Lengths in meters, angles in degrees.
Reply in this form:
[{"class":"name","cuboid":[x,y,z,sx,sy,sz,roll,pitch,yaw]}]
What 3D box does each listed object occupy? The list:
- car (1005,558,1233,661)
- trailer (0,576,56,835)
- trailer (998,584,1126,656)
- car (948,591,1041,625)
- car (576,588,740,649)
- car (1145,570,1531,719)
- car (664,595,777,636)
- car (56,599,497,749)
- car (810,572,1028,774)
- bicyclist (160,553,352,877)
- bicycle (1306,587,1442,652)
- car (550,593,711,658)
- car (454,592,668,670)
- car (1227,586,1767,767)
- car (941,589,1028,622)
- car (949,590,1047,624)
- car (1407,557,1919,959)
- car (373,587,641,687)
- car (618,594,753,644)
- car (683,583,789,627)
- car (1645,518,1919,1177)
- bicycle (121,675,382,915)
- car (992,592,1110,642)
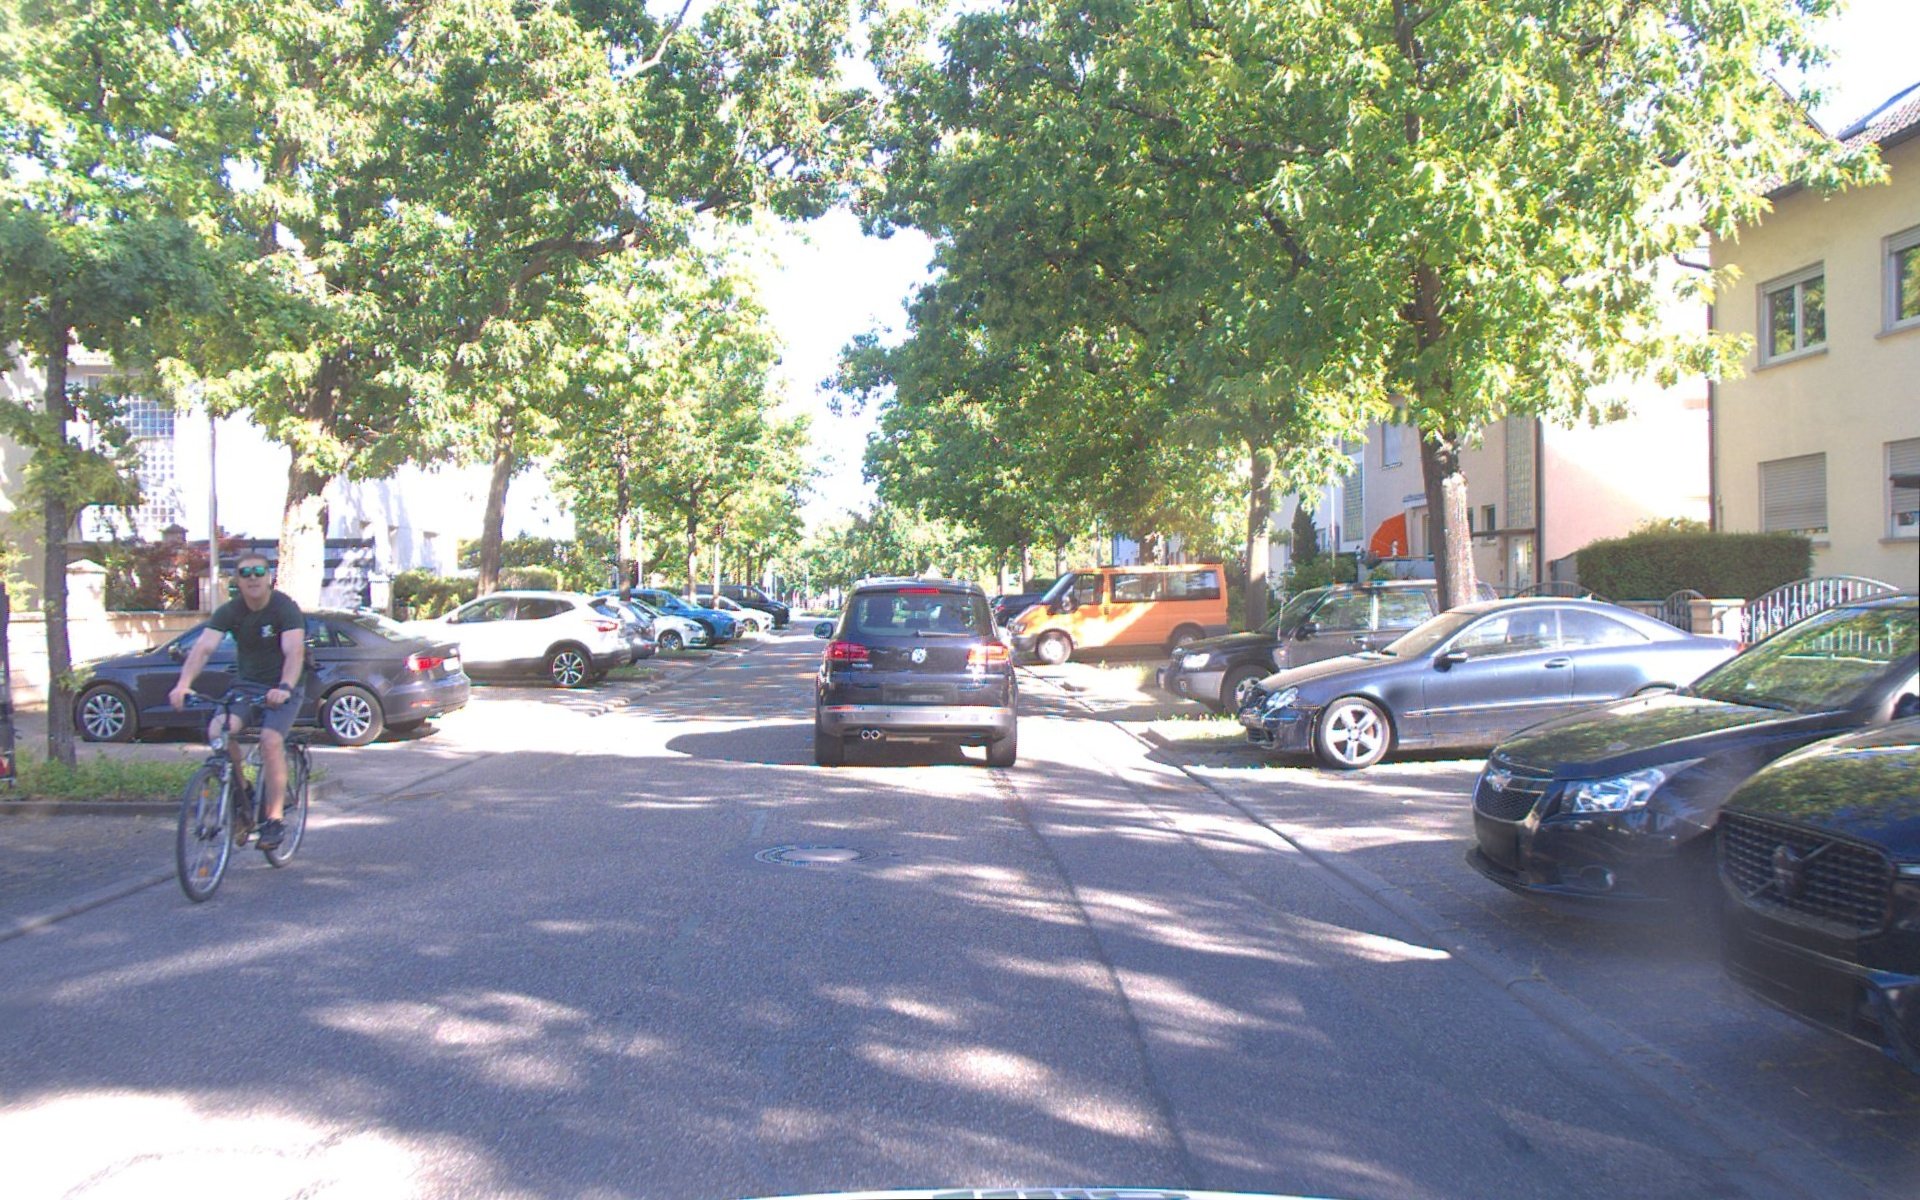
[{"class":"car","cuboid":[3.432,0.193,36.355,4.722,2.120,2.085,-1,0,-3]},{"class":"trailer","cuboid":[-7.417,0.710,10.793,2.189,1.703,1.475,-1,0,2]},{"class":"trailer","cuboid":[2.517,0.477,41.033,2.891,1.693,1.612,-1,0,-9]},{"class":"car","cuboid":[1.580,0.373,76.934,4.191,1.439,1.795,-1,0,-3]},{"class":"car","cuboid":[-8.742,0.535,48.177,4.433,1.660,1.936,-1,-1,-3]},{"class":"car","cuboid":[4.562,0.515,20.372,4.251,1.587,1.866,-2,0,-3]},{"class":"car","cuboid":[-9.334,0.595,64.765,4.190,1.504,1.767,1,0,-3]},{"class":"car","cuboid":[-7.409,0.772,18.228,4.126,1.497,1.690,-1,0,-3]},{"class":"car","cuboid":[-0.360,0.616,15.872,1.800,1.665,3.957,1,0,-1]},{"class":"bicyclist","cuboid":[-3.946,0.612,9.335,0.584,1.703,0.975,-3,0,-1]},{"class":"bicycle","cuboid":[8.977,0.429,35.874,2.801,1.259,0.468,-3,-1,-2]},{"class":"car","cuboid":[-8.653,0.666,43.724,3.907,1.623,1.856,-1,-1,-3]},{"class":"car","cuboid":[-8.120,0.624,33.927,3.954,1.448,1.809,2,0,-4]},{"class":"car","cuboid":[4.757,0.658,15.081,4.337,1.354,1.691,-3,0,0]},{"class":"car","cuboid":[1.193,0.275,81.922,4.191,1.529,1.795,-1,0,-3]},{"class":"car","cuboid":[1.675,0.324,74.137,4.260,1.386,1.872,-2,0,-4]},{"class":"car","cuboid":[4.488,0.586,7.745,4.233,1.556,1.840,-2,0,-3]},{"class":"car","cuboid":[-7.740,0.614,28.554,4.102,1.594,1.792,1,0,-1]},{"class":"car","cuboid":[-8.838,0.611,53.539,4.098,1.518,1.646,-1,-1,-3]},{"class":"car","cuboid":[-10.174,0.232,75.311,4.686,1.950,2.016,0,0,-5]},{"class":"car","cuboid":[4.633,0.534,4.817,4.482,1.675,1.837,-2,0,-2]},{"class":"bicycle","cuboid":[-3.922,1.028,9.341,0.584,1.077,1.986,-3,0,-1]},{"class":"car","cuboid":[3.028,0.566,55.381,3.804,1.542,1.660,-1,2,-3]}]
